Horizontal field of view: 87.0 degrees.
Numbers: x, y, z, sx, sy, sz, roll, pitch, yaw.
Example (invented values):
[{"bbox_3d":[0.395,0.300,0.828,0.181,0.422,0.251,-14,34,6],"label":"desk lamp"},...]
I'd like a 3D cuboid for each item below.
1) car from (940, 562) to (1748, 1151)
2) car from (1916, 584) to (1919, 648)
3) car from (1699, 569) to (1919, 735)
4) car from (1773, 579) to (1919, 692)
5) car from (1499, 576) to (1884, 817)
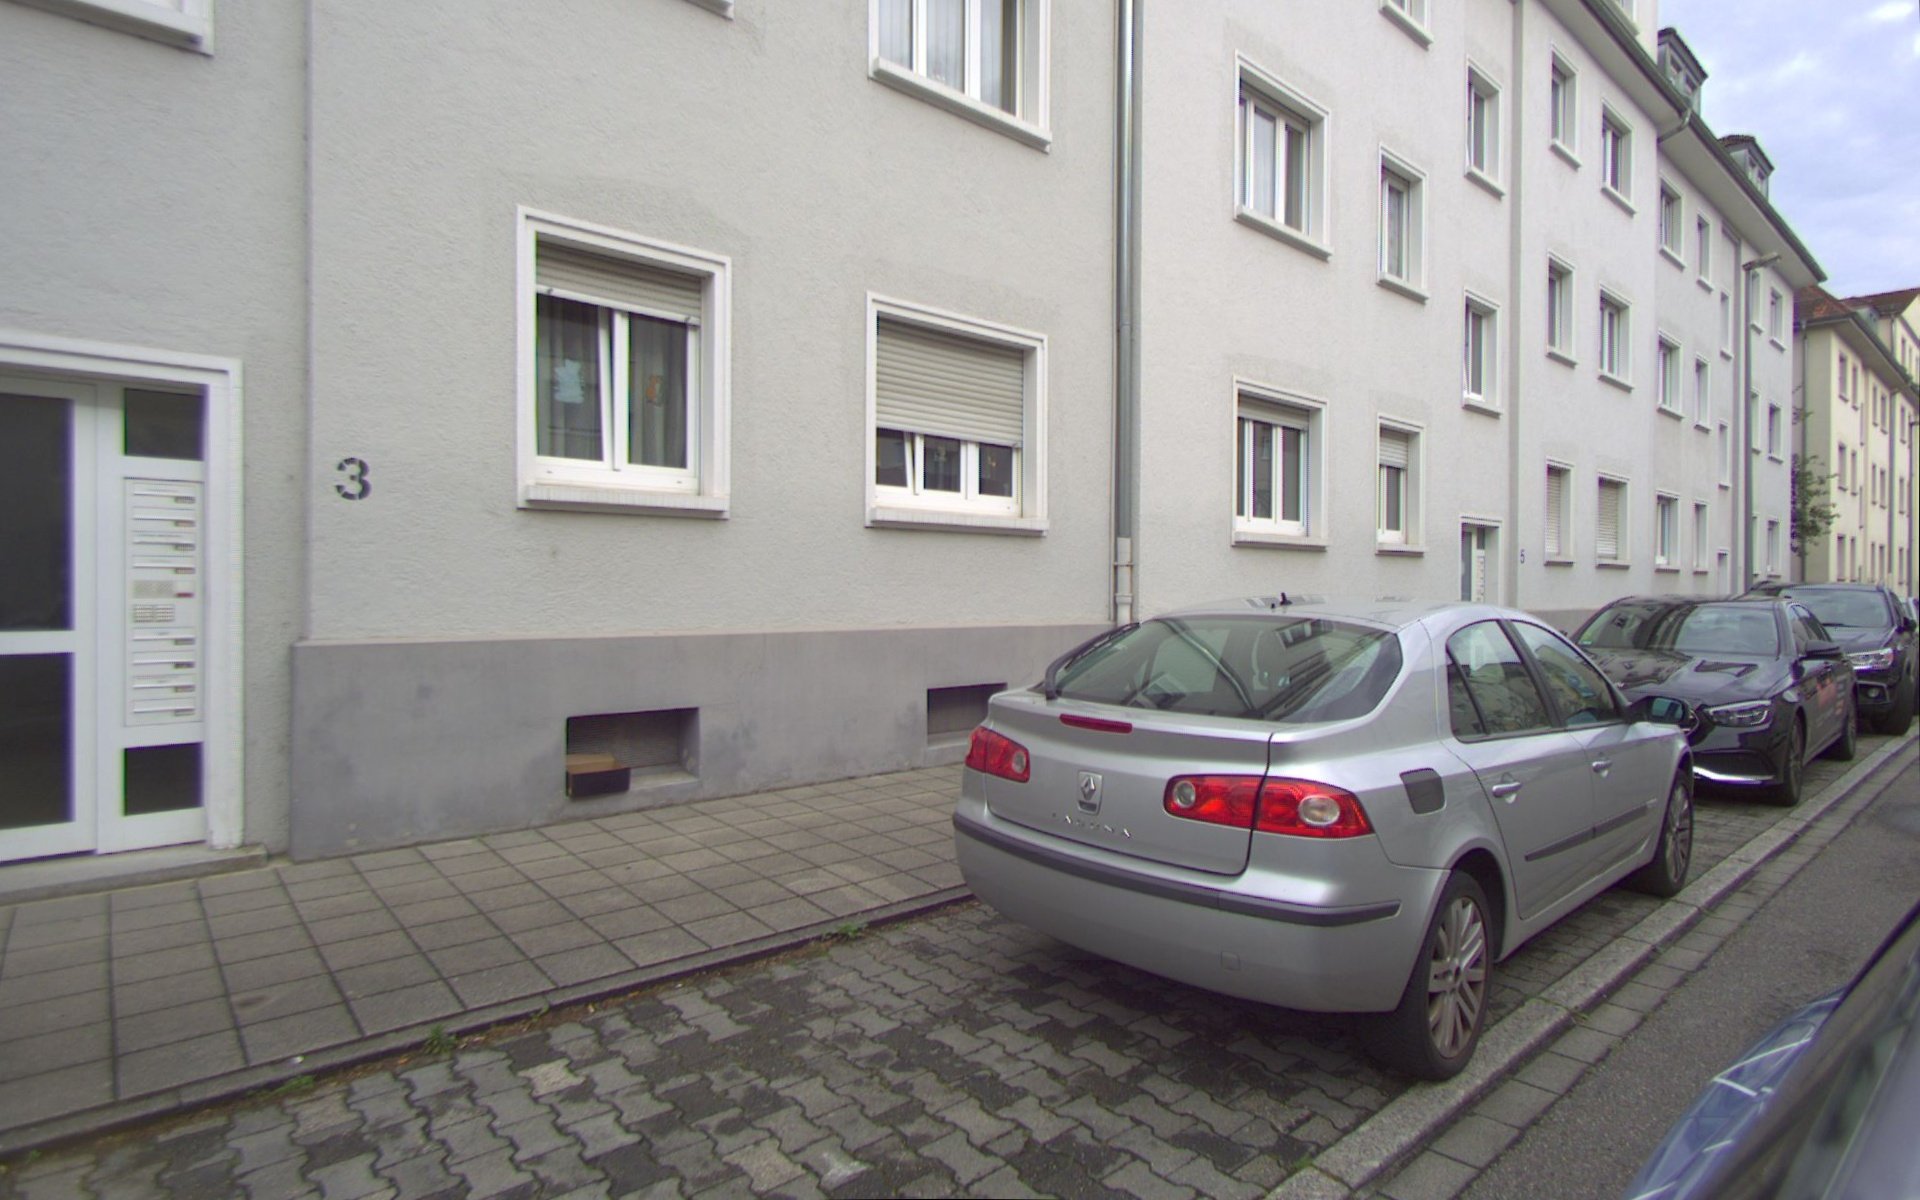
[{"bbox_3d":[2.105,0.620,4.668,4.355,1.481,1.735,0,1,-43],"label":"car"},{"bbox_3d":[25.510,0.396,25.566,3.616,1.566,1.735,-1,2,-43],"label":"car"},{"bbox_3d":[10.281,0.485,11.869,4.089,1.619,1.850,0,1,-43],"label":"car"},{"bbox_3d":[13.841,0.465,15.356,3.691,1.505,1.735,0,1,-41],"label":"car"},{"bbox_3d":[6.198,0.575,8.371,4.250,1.481,1.784,0,1,-43],"label":"car"}]
